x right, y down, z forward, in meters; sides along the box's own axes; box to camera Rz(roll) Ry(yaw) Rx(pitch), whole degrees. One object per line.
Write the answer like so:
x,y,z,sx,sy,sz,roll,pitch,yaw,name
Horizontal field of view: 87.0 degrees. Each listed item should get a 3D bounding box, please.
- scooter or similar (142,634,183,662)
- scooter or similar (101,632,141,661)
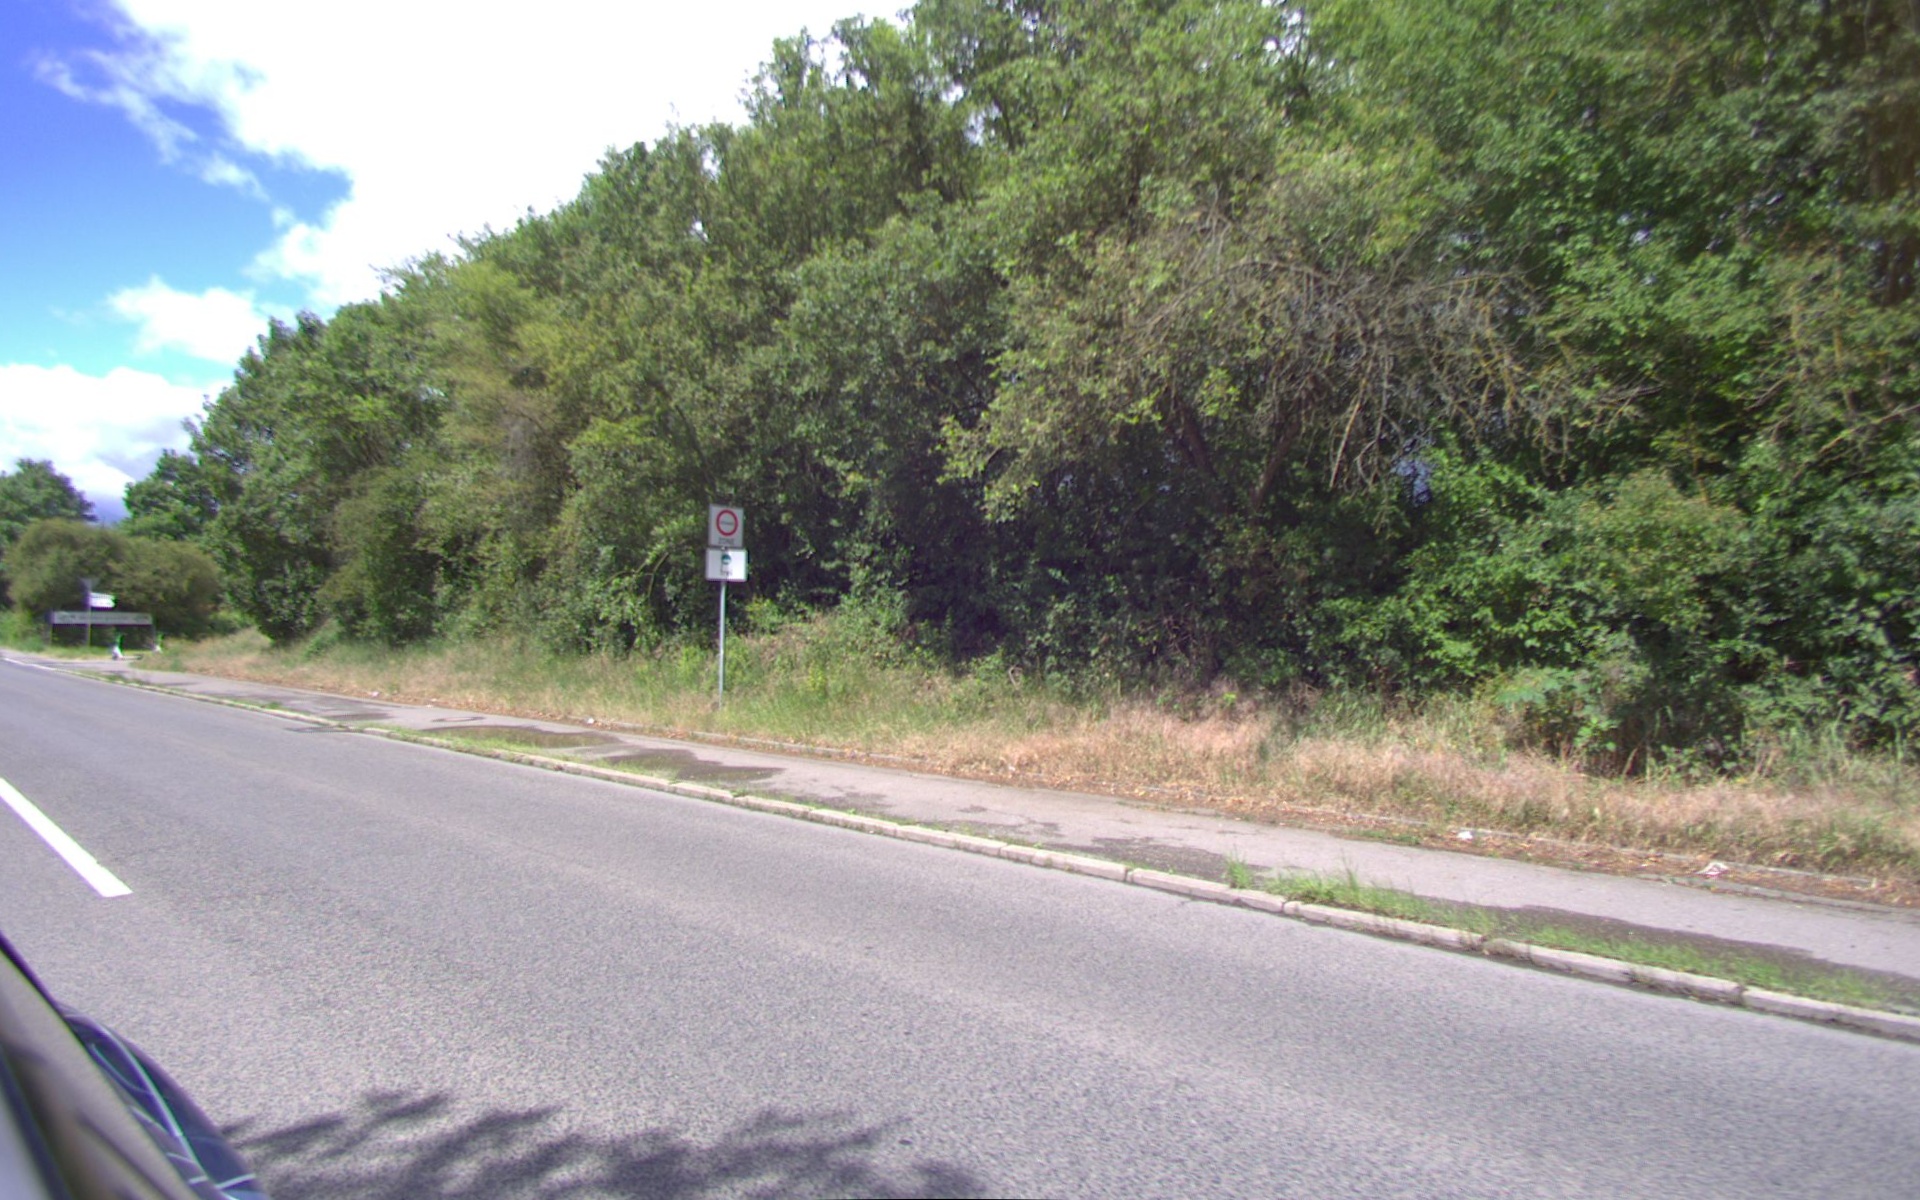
-34.267,2.052,43.490,1.329,1.177,0.407,0,-1,-8,scooter or similar
-35.608,1.962,42.947,1.331,1.177,0.407,-1,-1,-2,scooter or similar
